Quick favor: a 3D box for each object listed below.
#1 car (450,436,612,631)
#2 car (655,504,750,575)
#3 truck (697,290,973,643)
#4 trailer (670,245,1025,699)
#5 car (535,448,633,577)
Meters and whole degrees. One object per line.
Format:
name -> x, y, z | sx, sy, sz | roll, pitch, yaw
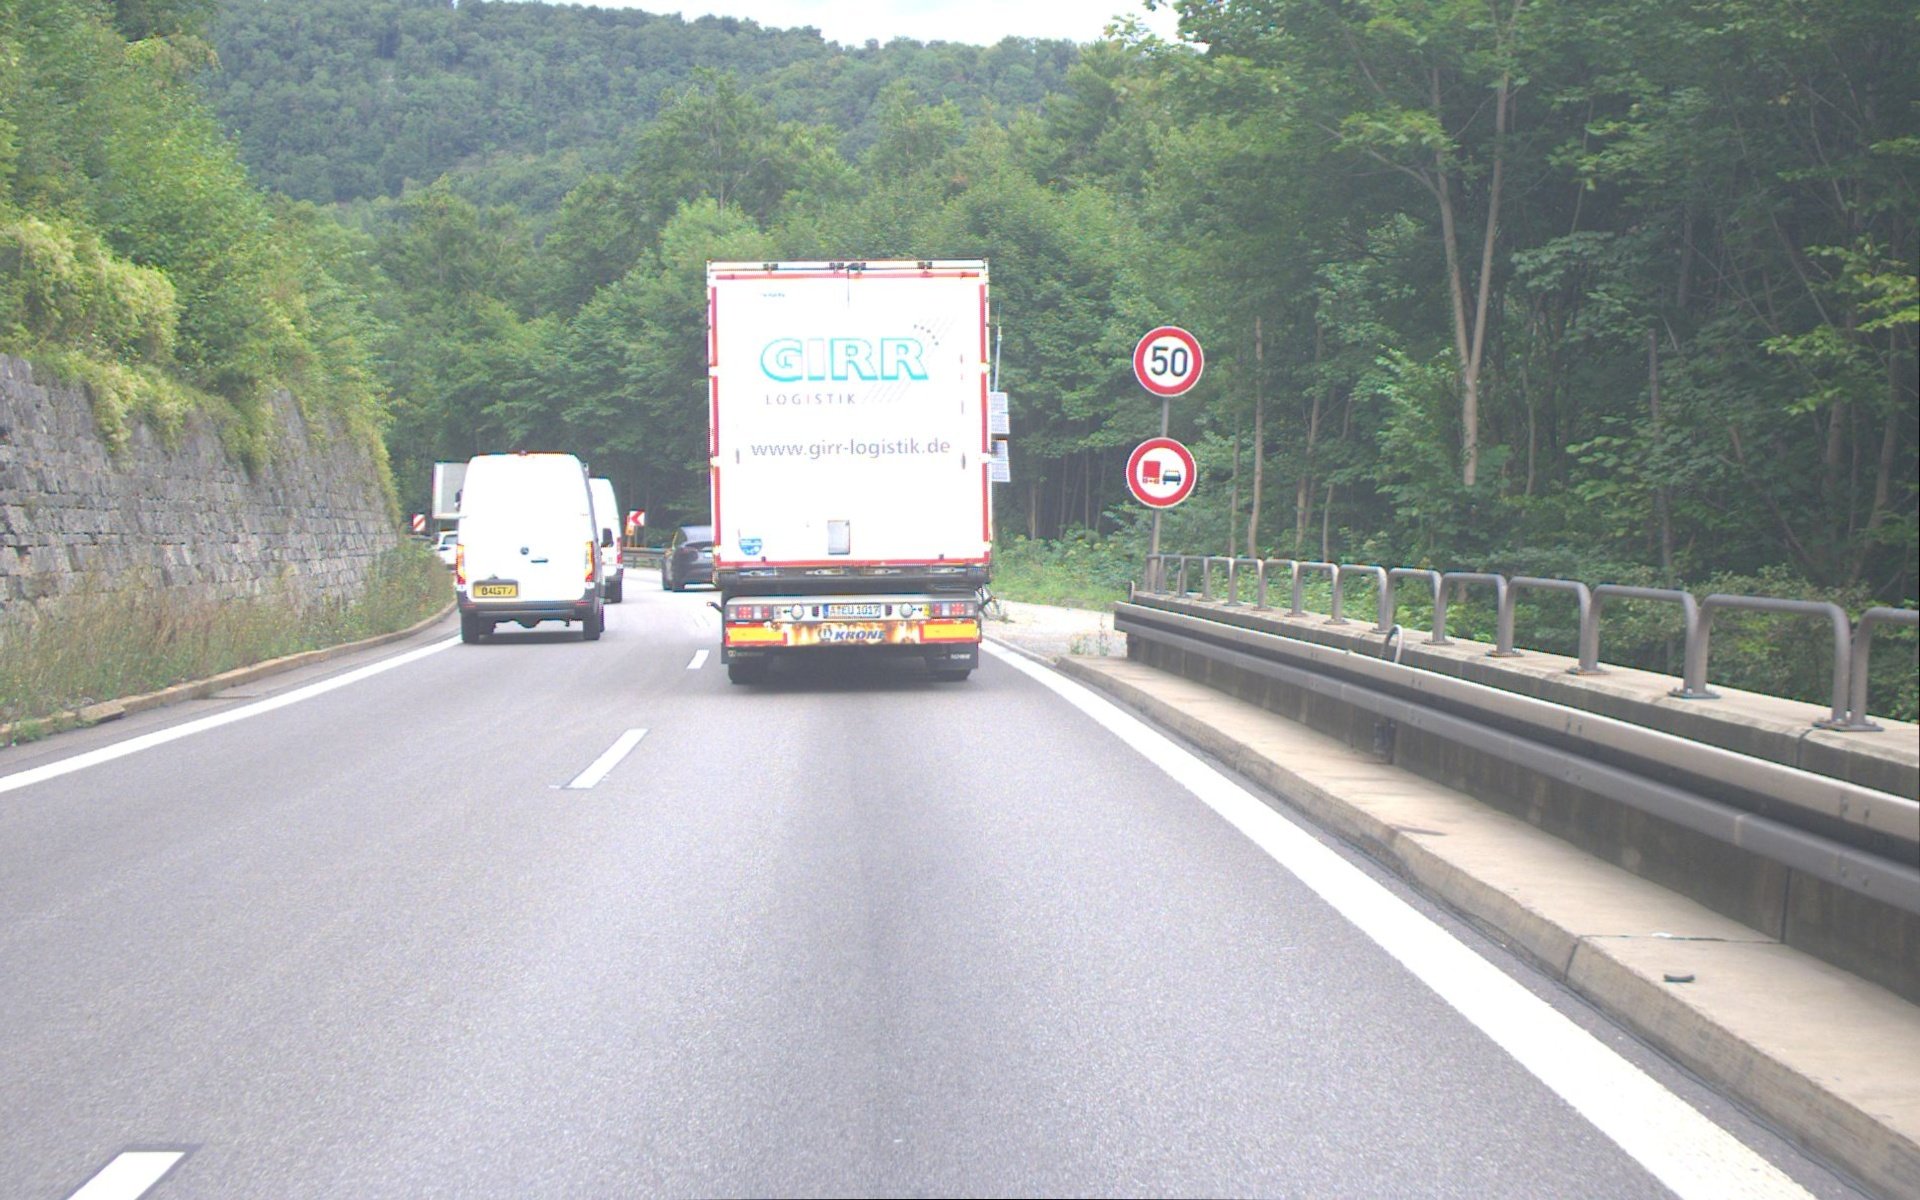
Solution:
car -> -6.300, -1.000, 51.140 | 1.988, 2.663, 6.937 | 1, 1, -4
car -> -6.356, -1.496, 84.588 | 1.993, 1.656, 4.001 | 1, 1, -9
truck -> -1.612, -1.696, 43.261 | 3.057, 3.972, 7.189 | 2, 2, -3
trailer -> -1.296, -1.409, 36.837 | 3.057, 3.972, 12.139 | 2, 2, -3
car -> -8.200, -1.895, 74.547 | 1.939, 2.663, 5.993 | 1, 1, -7
